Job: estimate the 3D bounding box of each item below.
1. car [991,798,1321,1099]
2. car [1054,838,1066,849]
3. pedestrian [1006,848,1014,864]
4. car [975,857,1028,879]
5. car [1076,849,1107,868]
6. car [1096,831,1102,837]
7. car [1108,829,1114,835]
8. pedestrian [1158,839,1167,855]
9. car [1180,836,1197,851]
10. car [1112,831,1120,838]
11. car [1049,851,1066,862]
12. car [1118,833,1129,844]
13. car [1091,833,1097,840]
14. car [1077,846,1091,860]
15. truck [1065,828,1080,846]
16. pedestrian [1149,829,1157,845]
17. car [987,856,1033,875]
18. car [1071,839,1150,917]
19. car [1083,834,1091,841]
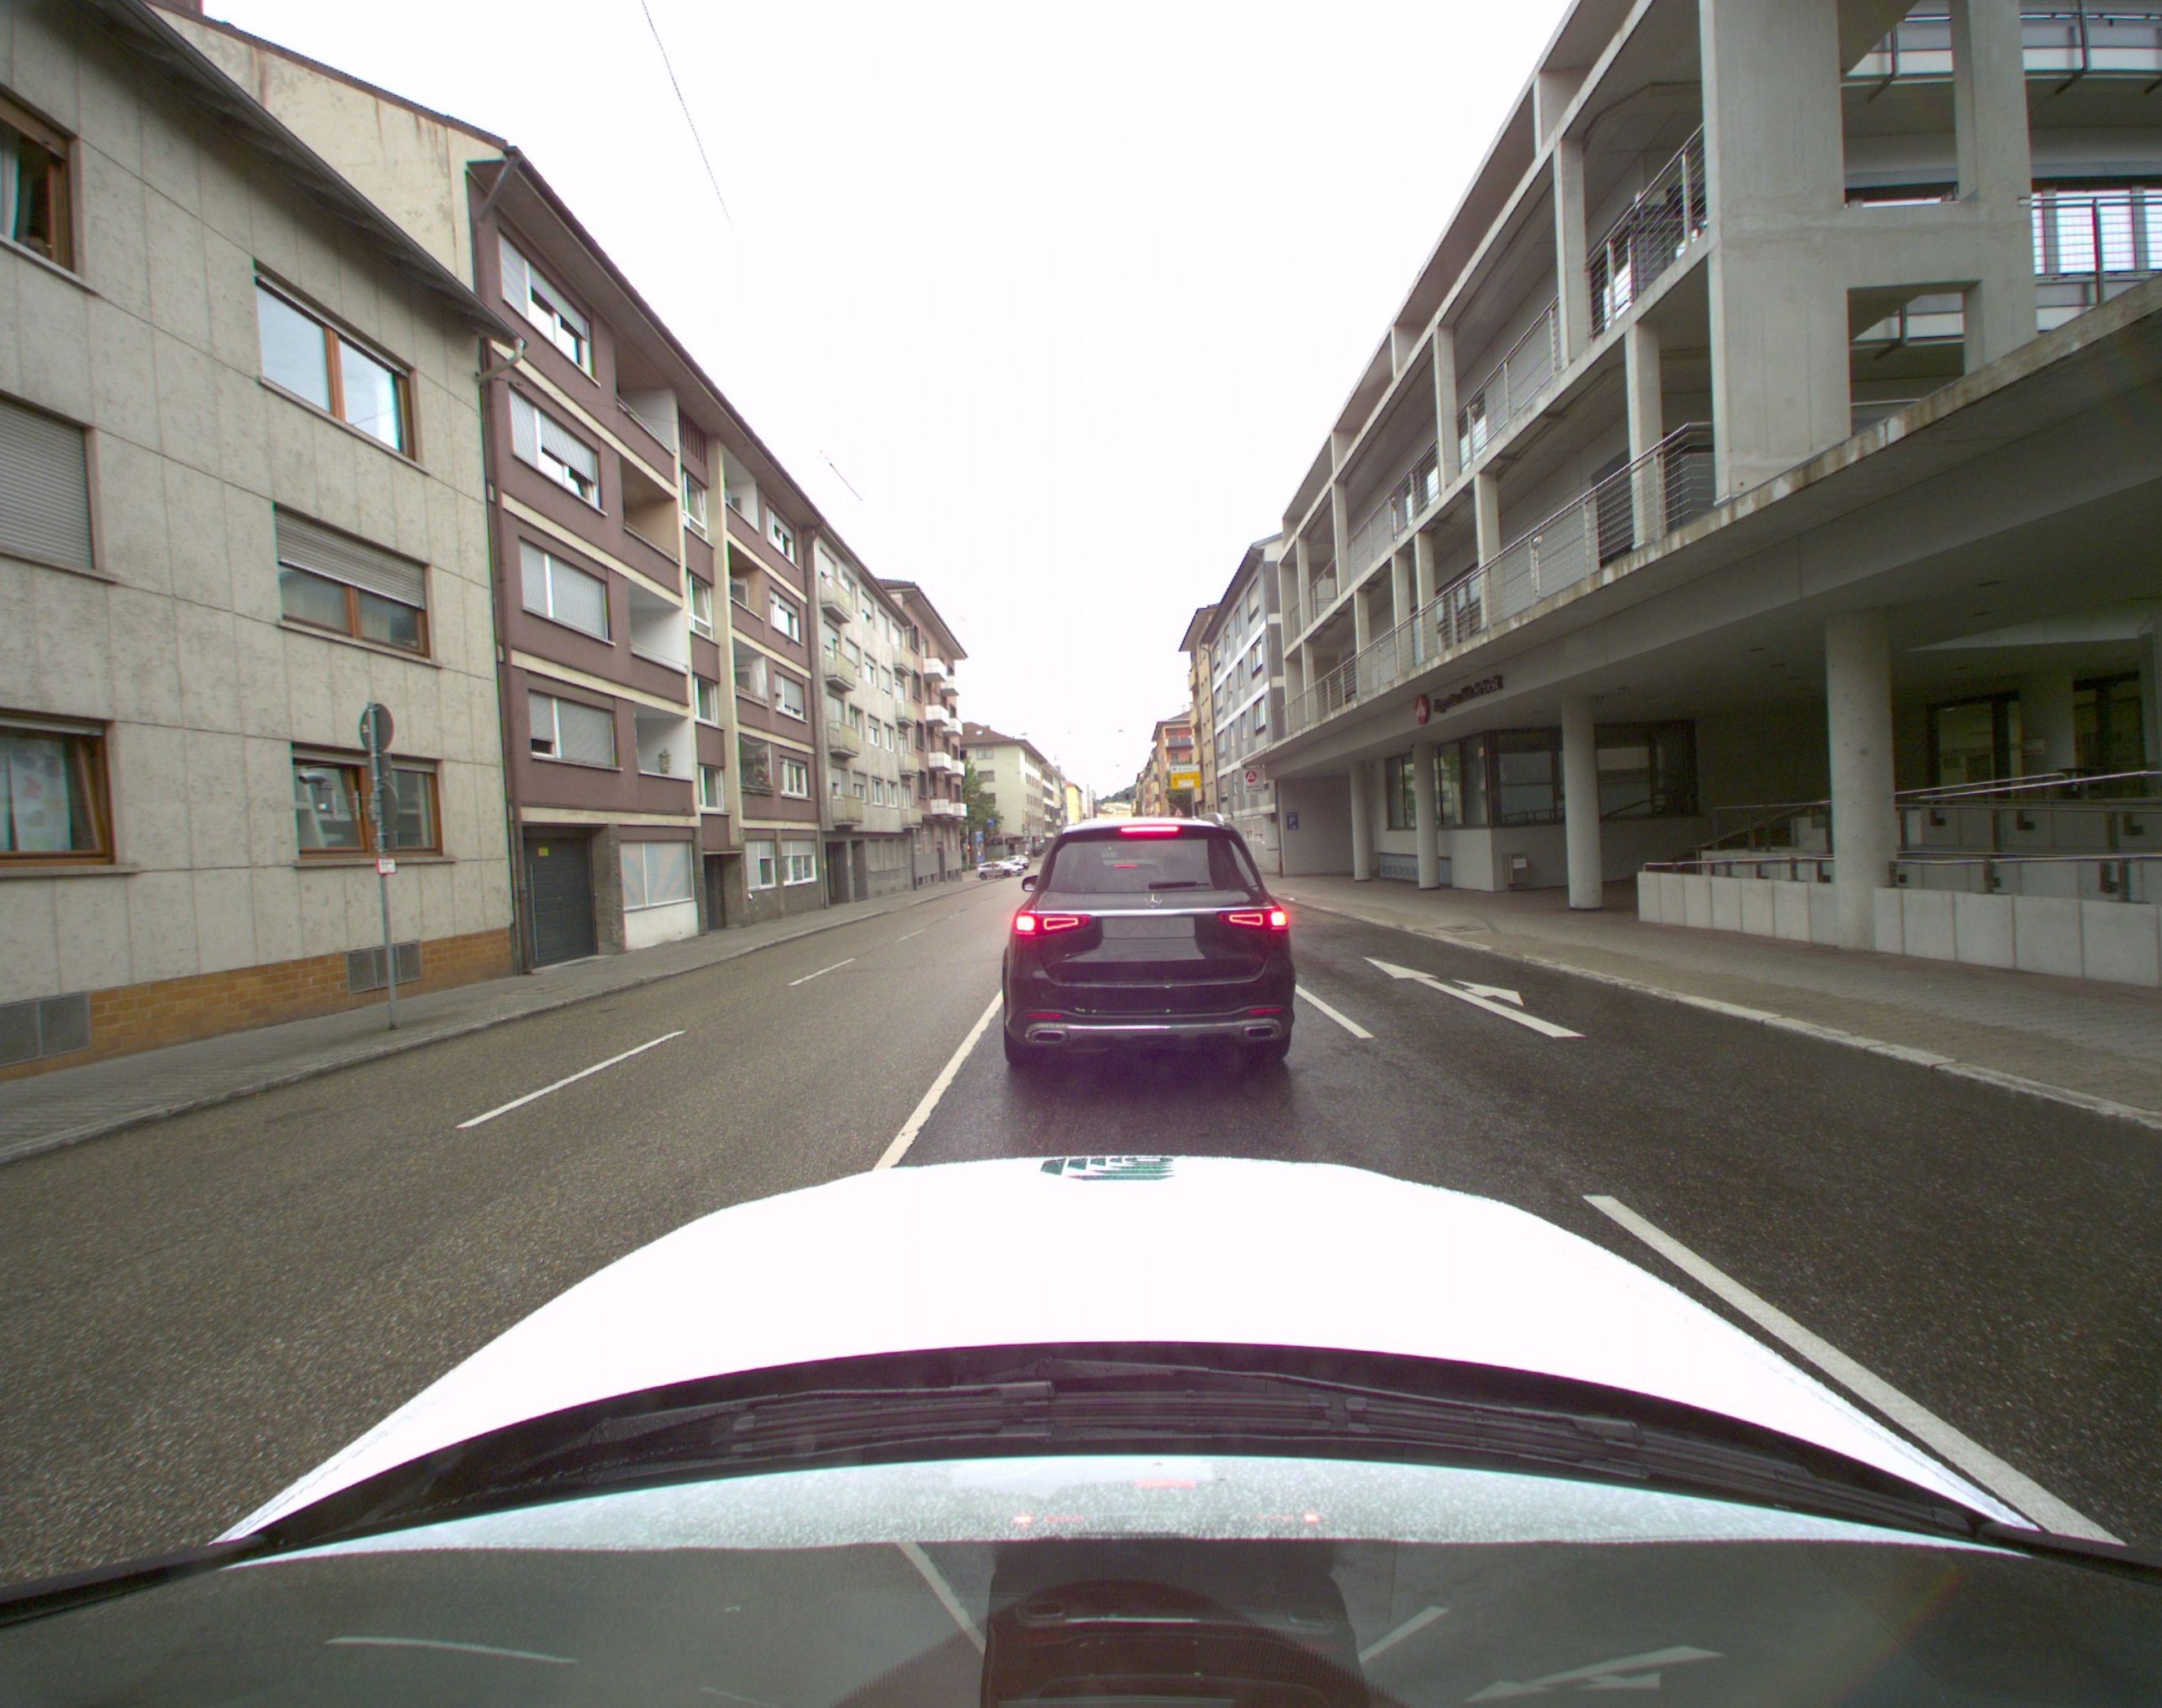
[{"bbox_3d":[0.517,0.590,7.116,1.977,1.805,4.391,0,-1,2],"label":"car"},{"bbox_3d":[-3.386,-1.713,131.926,1.613,1.539,4.216,-5,-1,0],"label":"car"},{"bbox_3d":[-8.910,0.225,102.343,0.920,1.902,0.706,-3,0,0],"label":"pedestrian"},{"bbox_3d":[-6.940,1.225,71.274,4.302,1.539,1.789,-5,-1,30],"label":"car"},{"bbox_3d":[0.953,0.431,73.479,1.816,1.539,4.200,-4,-1,-12],"label":"car"},{"bbox_3d":[5.565,-6.108,250.460,1.613,1.539,4.216,-5,-1,0],"label":"car"},{"bbox_3d":[8.842,-6.536,241.524,1.613,1.539,4.216,-5,-1,0],"label":"car"},{"bbox_3d":[9.916,-0.863,98.661,0.920,1.804,0.706,-3,0,0],"label":"pedestrian"},{"bbox_3d":[12.480,-1.177,94.518,1.664,1.588,3.334,-3,0,4],"label":"car"},{"bbox_3d":[7.878,-4.406,184.027,1.613,1.387,4.216,-5,-1,0],"label":"car"},{"bbox_3d":[-2.906,0.304,100.872,1.879,1.264,4.216,-5,-1,0],"label":"car"},{"bbox_3d":[7.727,-2.807,147.737,1.718,1.759,4.216,-5,0,0],"label":"car"},{"bbox_3d":[3.462,-4.643,219.518,1.613,1.539,4.216,-5,-1,0],"label":"car"},{"bbox_3d":[0.386,-0.144,101.409,1.613,1.539,4.216,-5,-1,0],"label":"car"},{"bbox_3d":[-1.600,-3.178,157.350,2.472,3.046,9.917,-4,-1,0],"label":"truck"},{"bbox_3d":[9.247,-2.199,104.767,0.920,2.013,0.706,-3,0,0],"label":"pedestrian"},{"bbox_3d":[-7.141,1.116,81.622,4.167,1.539,1.632,-5,-1,21],"label":"car"},{"bbox_3d":[0.674,0.574,20.937,1.746,1.731,4.216,-3,-1,0],"label":"car"},{"bbox_3d":[1.451,-3.956,193.949,1.613,1.539,4.216,-5,-1,0],"label":"car"}]
